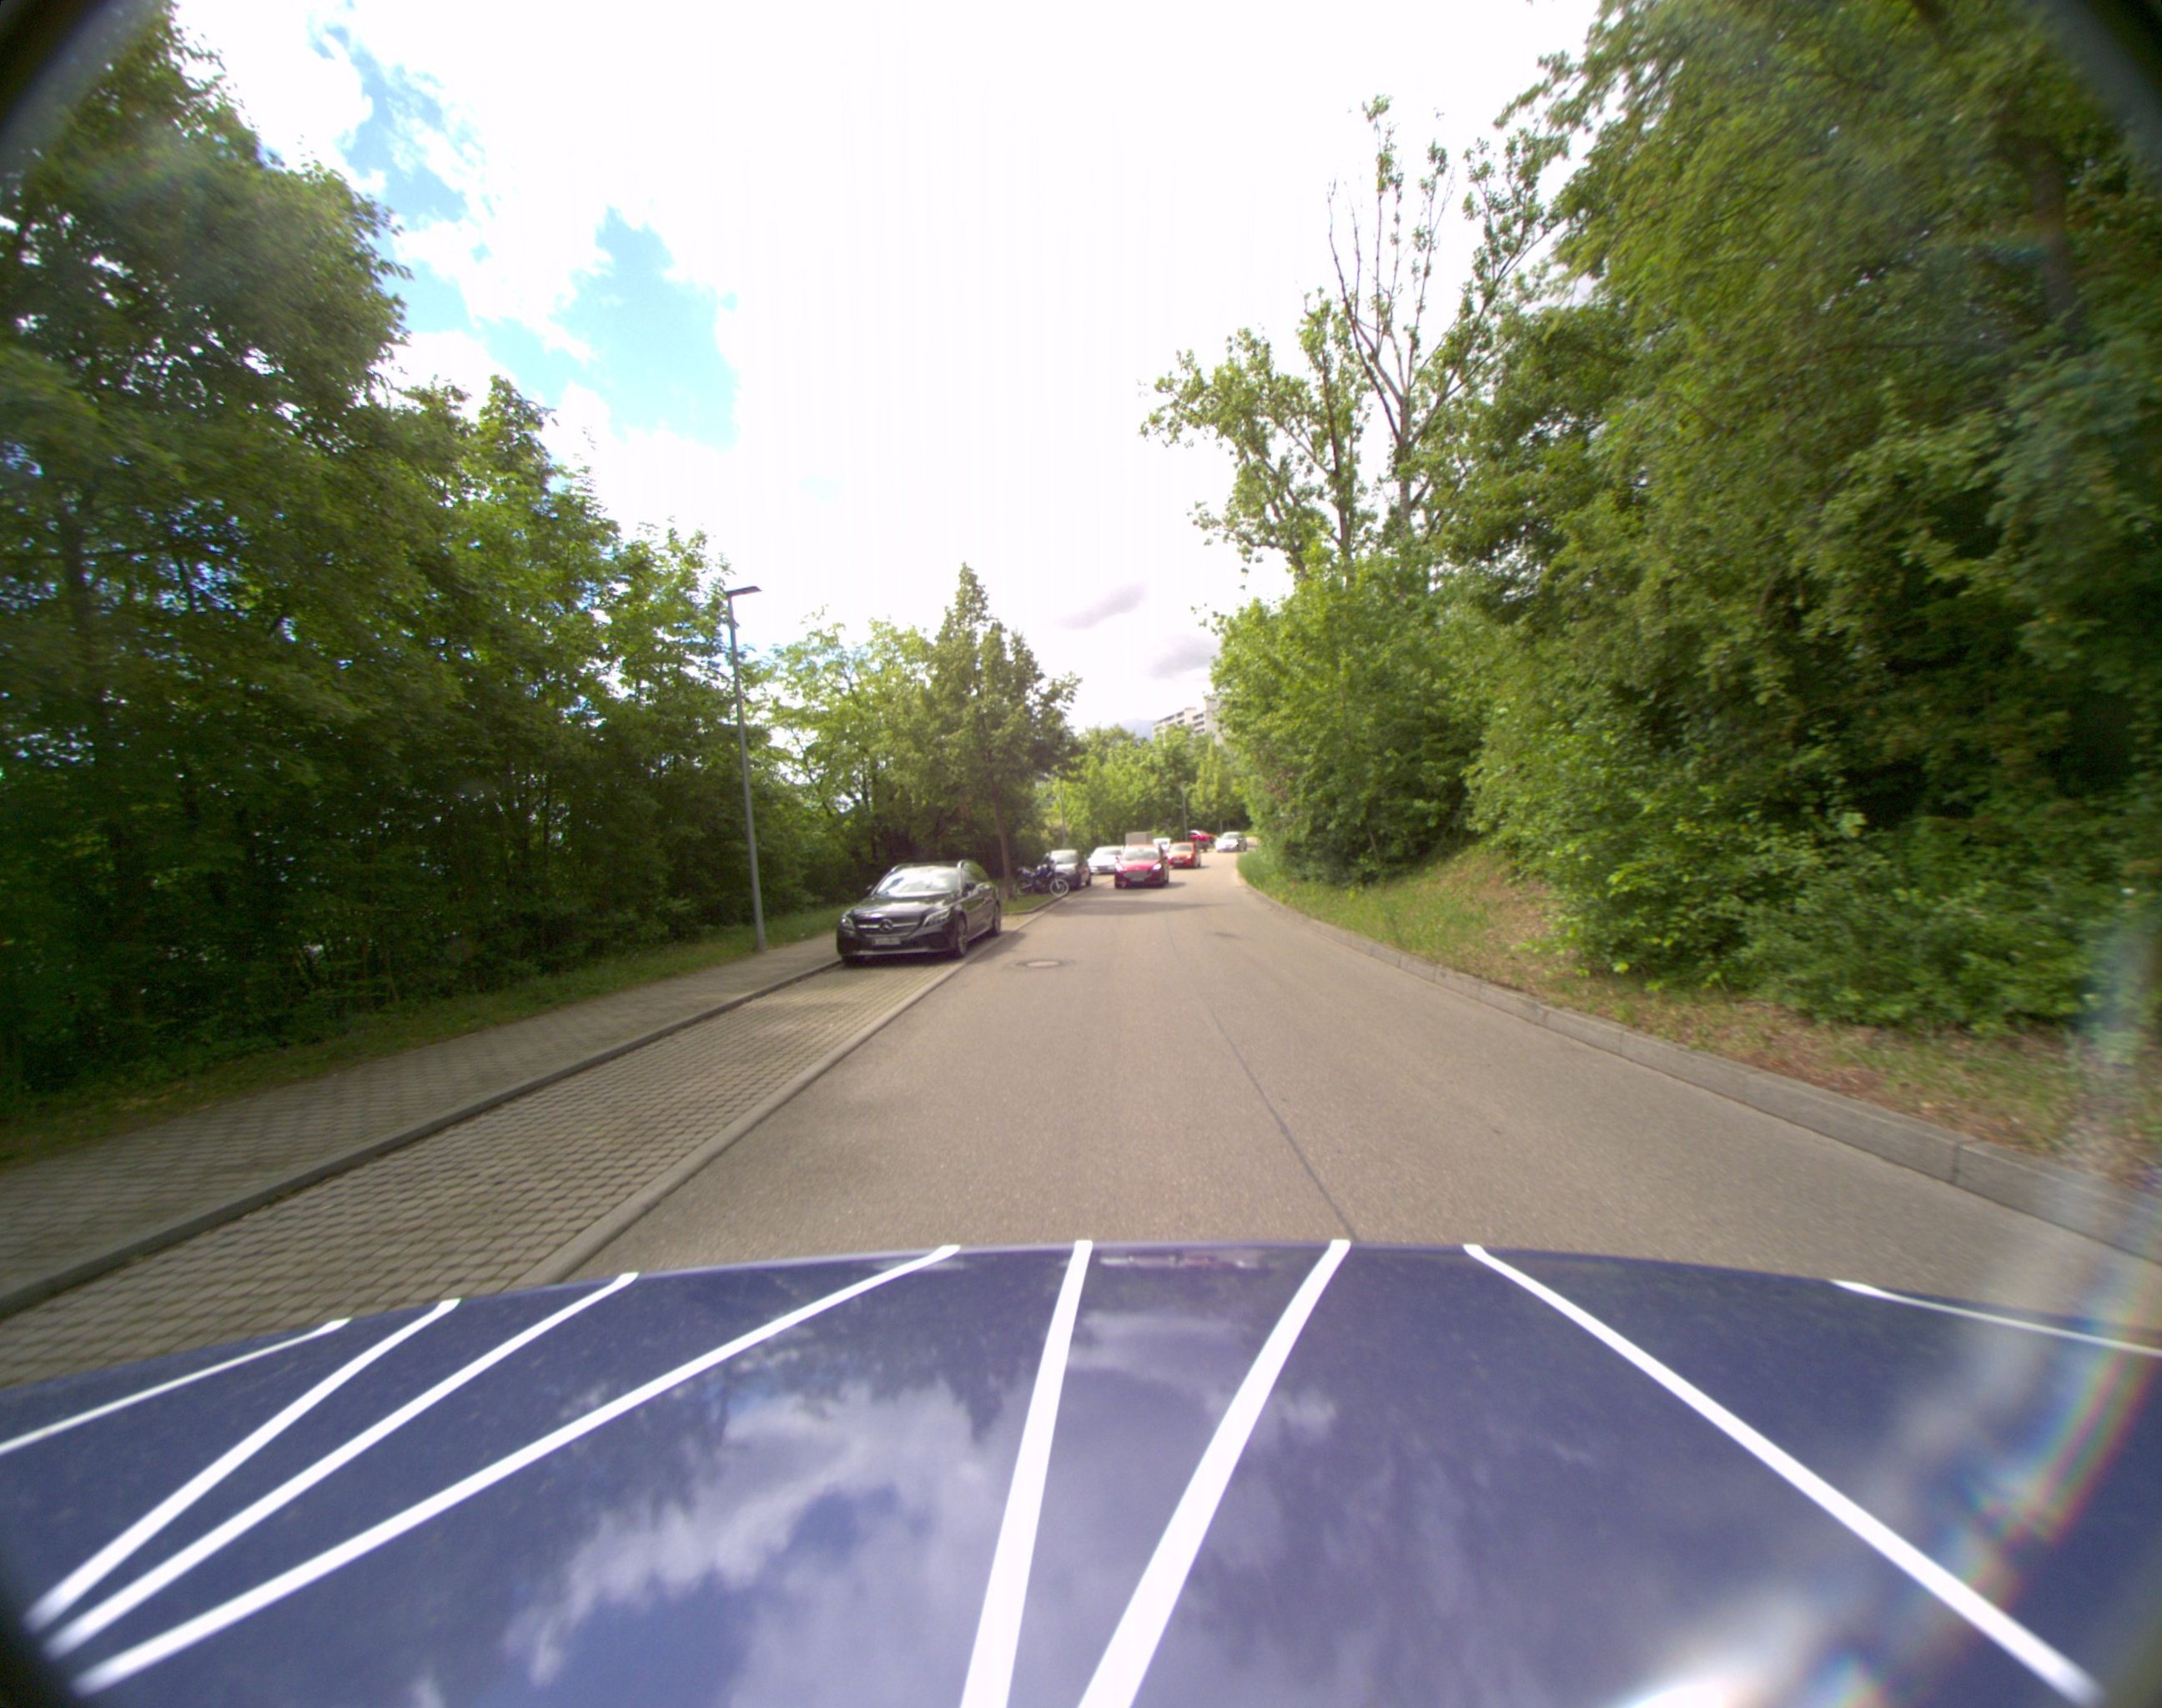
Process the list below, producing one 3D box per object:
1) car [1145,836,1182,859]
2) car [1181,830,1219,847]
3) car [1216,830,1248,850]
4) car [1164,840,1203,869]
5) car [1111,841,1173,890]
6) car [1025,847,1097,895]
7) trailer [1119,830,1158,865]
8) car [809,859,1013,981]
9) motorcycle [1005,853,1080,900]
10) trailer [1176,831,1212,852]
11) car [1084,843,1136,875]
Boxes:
[{"bbox_3d":[5.987,-0.510,54.594,1.708,1.469,3.787,-1,3,20],"label":"car"},{"bbox_3d":[12.523,-1.620,80.105,3.478,1.509,1.654,-1,5,44],"label":"car"},{"bbox_3d":[12.631,-1.171,63.405,1.793,1.500,4.118,-2,1,23],"label":"car"},{"bbox_3d":[5.965,-0.012,43.874,1.794,1.405,4.115,1,3,14],"label":"car"},{"bbox_3d":[2.483,0.394,29.786,1.910,1.689,4.389,-1,2,11],"label":"car"},{"bbox_3d":[-0.671,0.565,28.493,1.772,1.509,4.109,-3,1,11],"label":"car"},{"bbox_3d":[3.762,-0.450,48.788,1.732,2.067,3.786,-1,3,16],"label":"trailer"},{"bbox_3d":[-2.544,0.921,12.660,1.897,1.521,4.547,-4,0,5],"label":"car"},{"bbox_3d":[-1.274,0.723,25.181,2.306,1.467,0.977,-1,2,34],"label":"motorcycle"},{"bbox_3d":[9.461,-1.064,63.338,1.811,1.570,4.495,-1,3,24],"label":"trailer"},{"bbox_3d":[1.617,0.217,40.350,1.865,1.469,4.905,-1,2,12],"label":"car"}]
